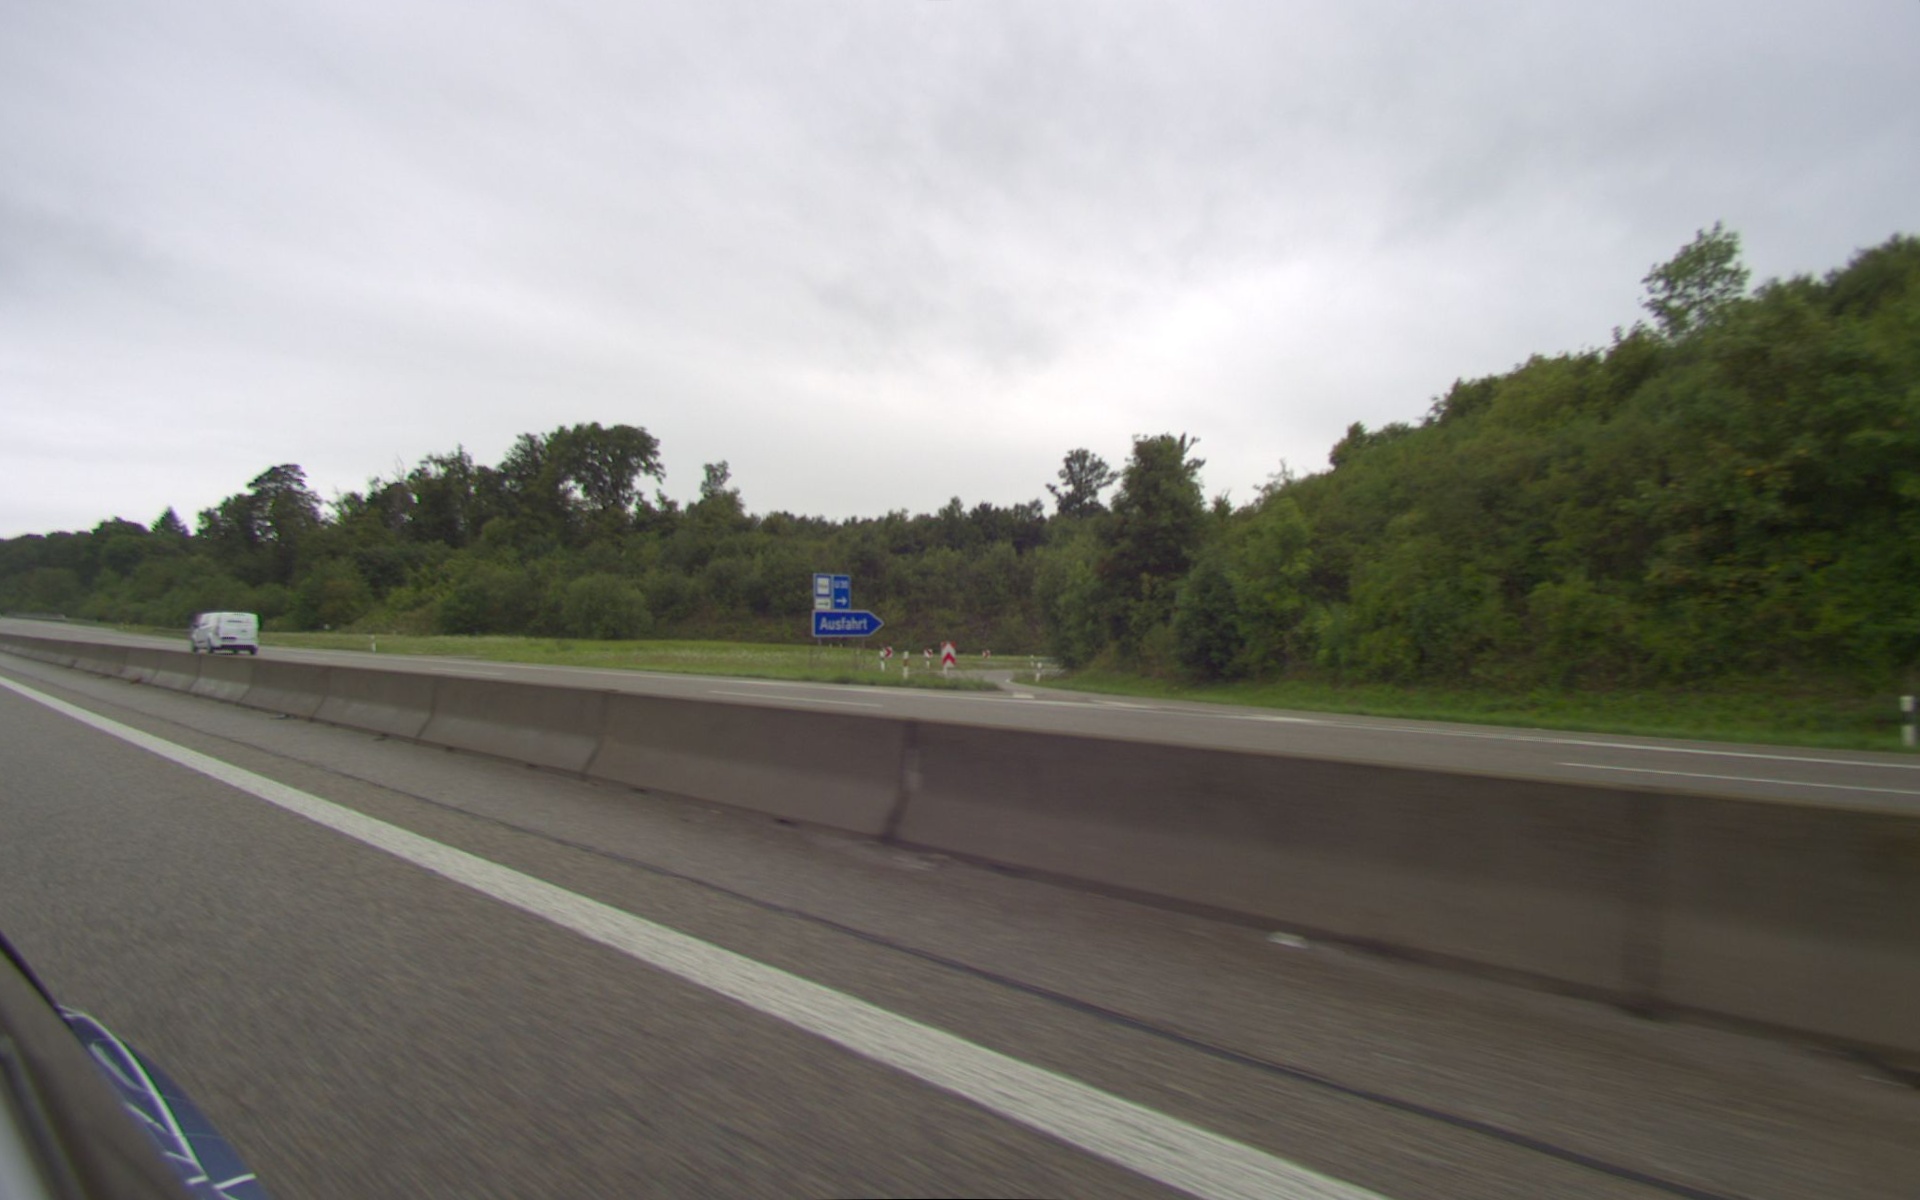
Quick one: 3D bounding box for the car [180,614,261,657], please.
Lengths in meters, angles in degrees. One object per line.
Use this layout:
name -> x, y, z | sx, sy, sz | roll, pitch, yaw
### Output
car -> -37.098, 1.752, 50.714 | 5.757, 2.029, 1.973 | -1, -2, 41
